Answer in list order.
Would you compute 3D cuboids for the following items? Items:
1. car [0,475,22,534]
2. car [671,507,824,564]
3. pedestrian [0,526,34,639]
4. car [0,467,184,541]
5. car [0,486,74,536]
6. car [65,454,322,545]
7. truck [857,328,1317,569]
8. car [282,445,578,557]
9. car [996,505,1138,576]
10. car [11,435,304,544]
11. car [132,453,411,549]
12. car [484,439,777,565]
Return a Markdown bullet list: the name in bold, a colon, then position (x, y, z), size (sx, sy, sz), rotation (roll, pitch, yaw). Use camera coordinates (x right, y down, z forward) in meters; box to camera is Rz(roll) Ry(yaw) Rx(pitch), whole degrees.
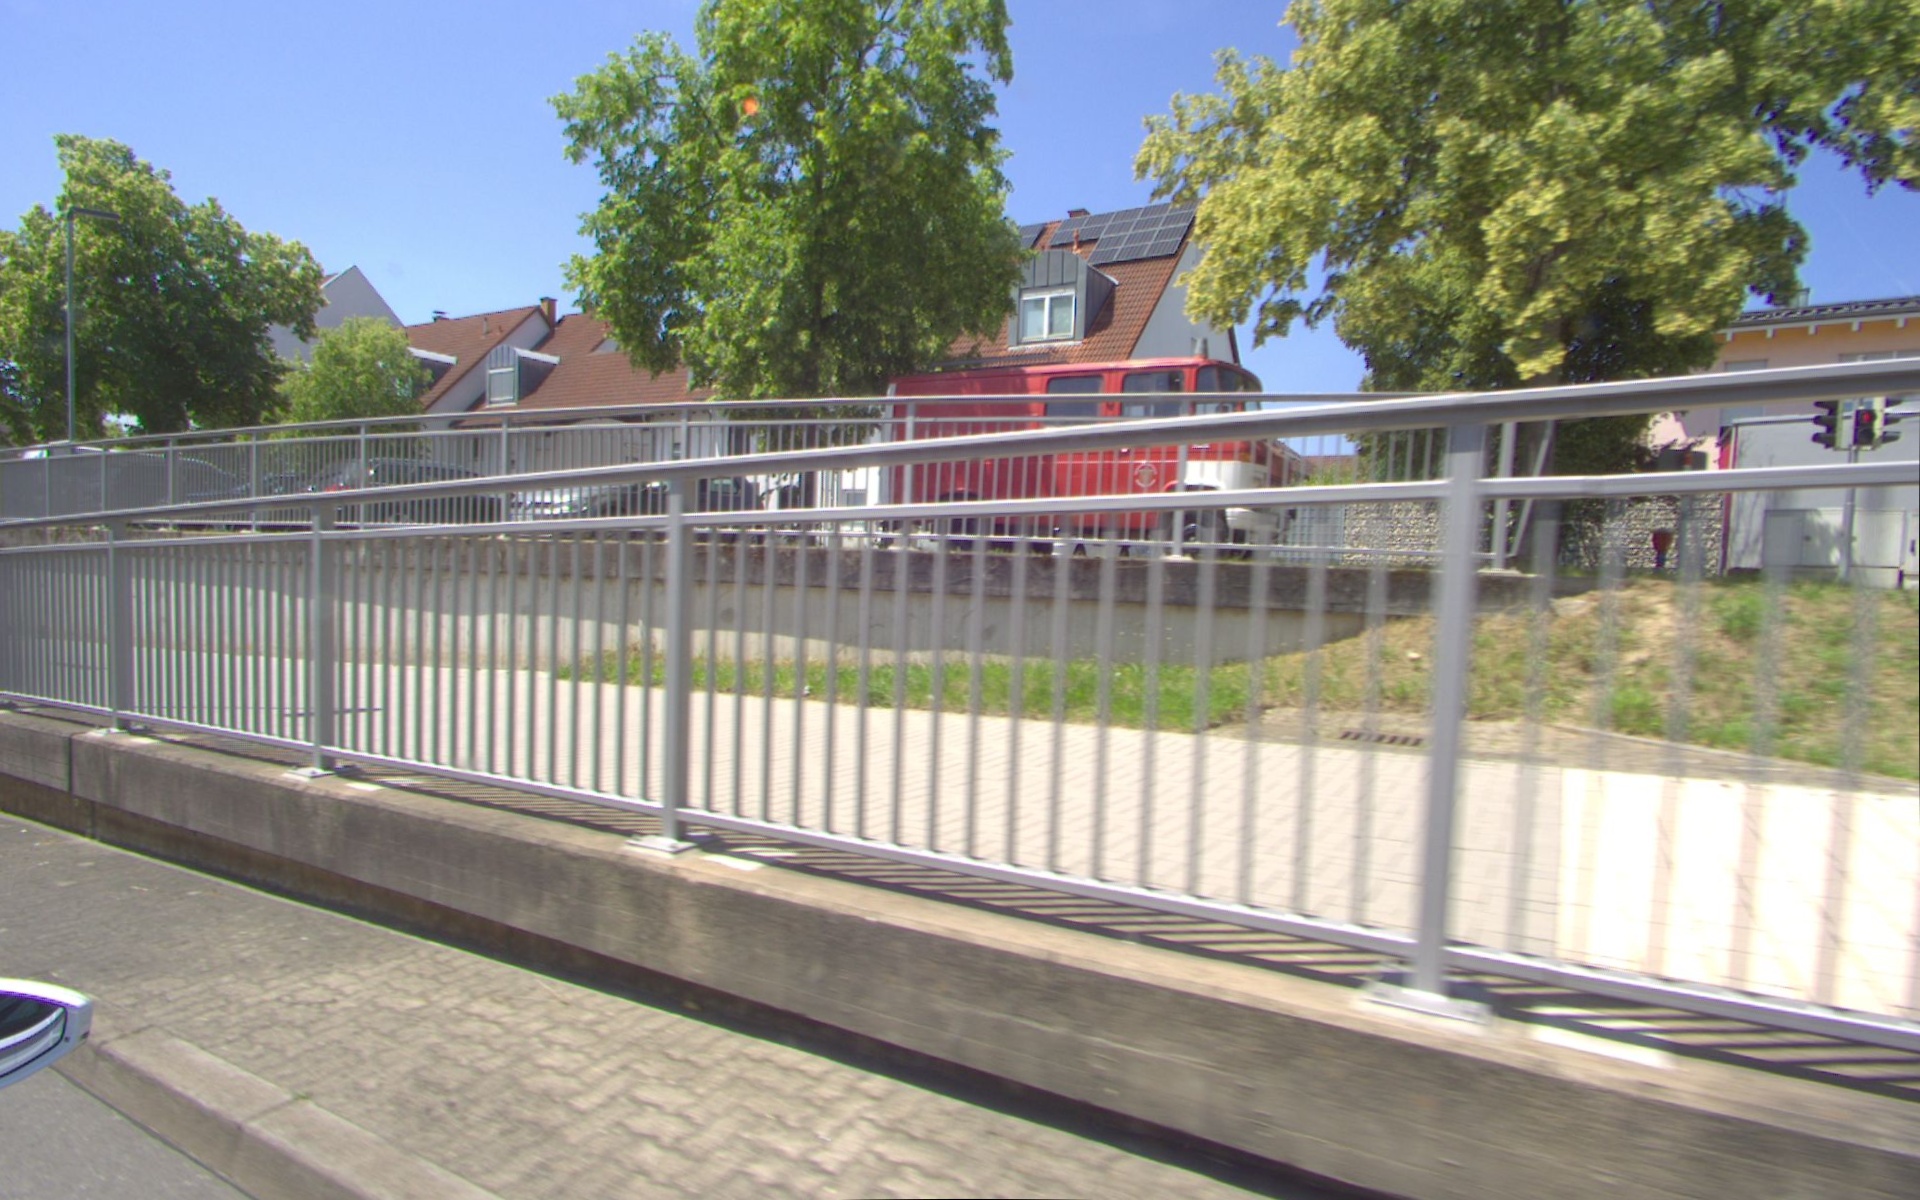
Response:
- **car**: position (-33.117, -3.189, 32.318), size (1.661, 1.911, 3.896), rotation (3, 2, 33)
- **car**: position (-5.997, -1.811, 28.703), size (1.732, 1.511, 4.394), rotation (3, 4, 32)
- **pedestrian**: position (-15.646, -0.286, 16.173), size (0.777, 1.806, 0.834), rotation (1, 1, 32)
- **car**: position (-22.953, -2.450, 25.971), size (1.661, 1.618, 4.194), rotation (3, 2, 33)
- **car**: position (-29.081, -2.705, 29.718), size (1.661, 1.386, 3.896), rotation (3, 2, 33)
- **car**: position (-16.684, -2.109, 22.007), size (1.661, 1.618, 4.194), rotation (3, 2, 33)
- **truck**: position (1.462, -1.679, 12.409), size (5.181, 2.366, 2.128), rotation (3, 2, 32)
- **car**: position (-8.855, -1.578, 17.075), size (1.661, 1.519, 4.194), rotation (3, 2, 33)
- **car**: position (2.571, -1.358, 23.336), size (1.732, 1.499, 3.927), rotation (3, 4, 32)
- **car**: position (-18.843, -2.492, 23.811), size (1.960, 2.092, 5.100), rotation (3, 2, 33)
- **car**: position (-13.577, -1.883, 20.009), size (1.723, 1.519, 4.275), rotation (3, 2, 33)
- **car**: position (-4.780, -1.358, 15.032), size (1.723, 1.519, 3.977), rotation (3, 2, 33)
